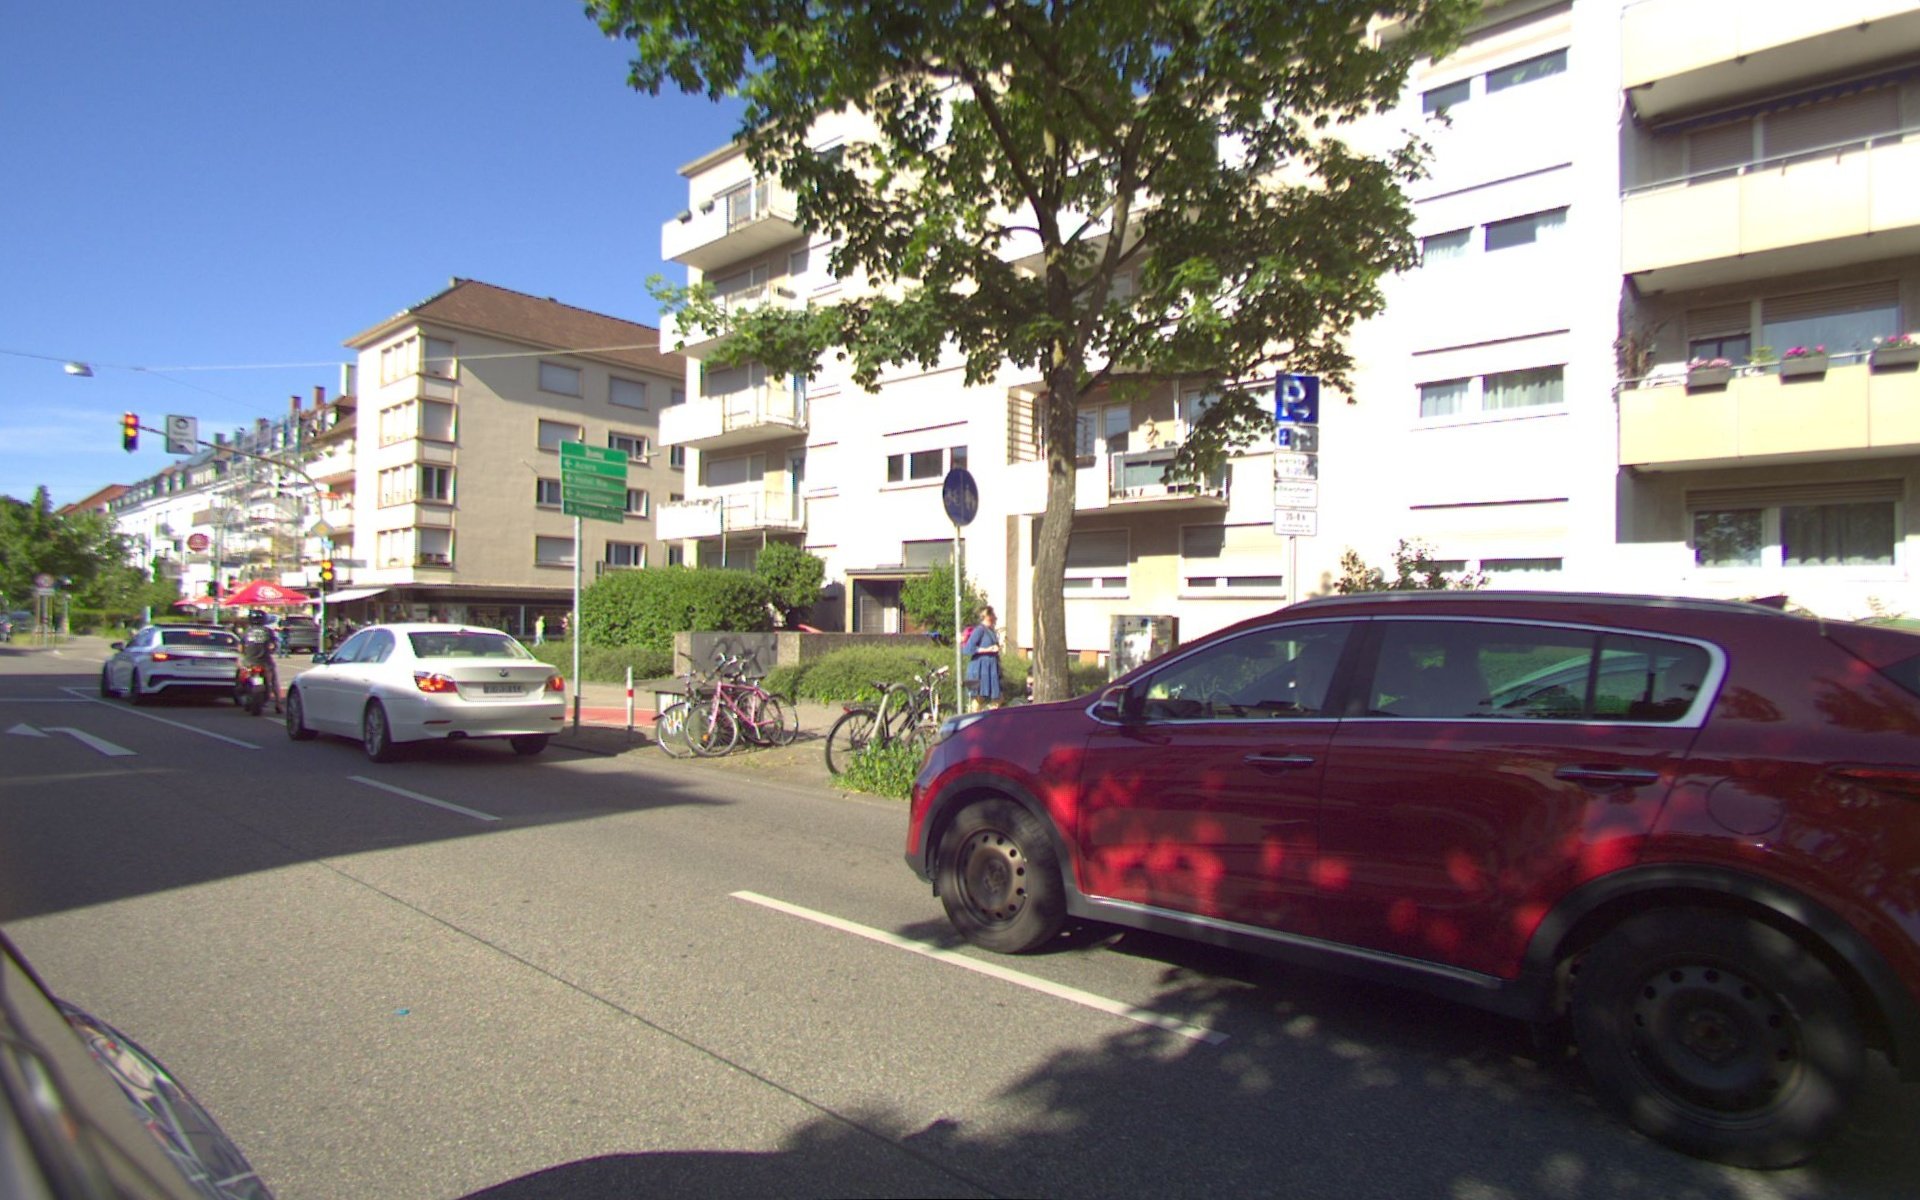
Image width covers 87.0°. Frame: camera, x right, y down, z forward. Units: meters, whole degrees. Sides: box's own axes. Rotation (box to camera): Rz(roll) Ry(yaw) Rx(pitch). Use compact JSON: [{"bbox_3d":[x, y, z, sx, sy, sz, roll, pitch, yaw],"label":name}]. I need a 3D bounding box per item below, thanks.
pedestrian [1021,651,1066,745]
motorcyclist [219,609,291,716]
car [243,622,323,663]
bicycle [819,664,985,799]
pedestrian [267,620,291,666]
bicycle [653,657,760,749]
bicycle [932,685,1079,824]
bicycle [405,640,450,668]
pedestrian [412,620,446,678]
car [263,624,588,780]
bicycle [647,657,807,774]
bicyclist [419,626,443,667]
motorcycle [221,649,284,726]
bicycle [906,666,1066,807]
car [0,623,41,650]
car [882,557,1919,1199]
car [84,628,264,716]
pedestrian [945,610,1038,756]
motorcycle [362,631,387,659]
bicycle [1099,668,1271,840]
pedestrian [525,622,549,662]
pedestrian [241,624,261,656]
[{"bbox_3d":[1.080,1.253,13.092,0.490,1.169,0.331,-1,-2,40],"label":"pedestrian"},{"bbox_3d":[-11.351,1.006,16.289,0.720,1.659,0.918,6,-5,-43],"label":"motorcyclist"},{"bbox_3d":[-28.561,1.764,42.656,4.303,1.635,1.741,-1,-3,42],"label":"car"},{"bbox_3d":[-0.540,1.256,10.099,0.559,1.095,1.808,-1,0,40],"label":"bicycle"},{"bbox_3d":[-25.837,1.623,38.387,0.661,1.731,0.585,3,-2,-39],"label":"pedestrian"},{"bbox_3d":[-3.311,1.310,13.142,1.705,1.087,0.422,-1,-3,41],"label":"bicycle"},{"bbox_3d":[0.428,1.301,8.853,0.447,0.972,1.521,-1,0,40],"label":"bicycle"},{"bbox_3d":[-21.438,2.156,40.743,0.449,1.085,1.545,-1,-3,39],"label":"bicycle"},{"bbox_3d":[-15.517,1.419,29.578,0.682,1.671,0.650,-1,-3,42],"label":"pedestrian"},{"bbox_3d":[-6.481,1.079,12.000,4.776,1.476,1.794,-1,-5,42],"label":"car"},{"bbox_3d":[-2.660,1.290,11.777,0.518,1.171,1.949,-1,-2,37],"label":"bicycle"},{"bbox_3d":[-21.376,1.887,40.892,0.578,1.619,0.677,-1,-3,39],"label":"bicyclist"},{"bbox_3d":[-11.400,1.384,16.289,0.442,1.130,1.934,6,-5,-44],"label":"motorcycle"},{"bbox_3d":[0.287,1.244,9.651,0.492,1.095,1.808,-1,0,40],"label":"bicycle"},{"bbox_3d":[-49.802,1.908,53.600,3.092,1.366,1.305,-1,-3,42],"label":"car"},{"bbox_3d":[1.802,0.806,4.166,4.298,1.629,1.703,-2,-6,42],"label":"car"},{"bbox_3d":[-14.594,1.279,18.703,4.503,1.417,1.680,-1,-5,41],"label":"car"},{"bbox_3d":[0.385,0.979,12.350,0.929,1.699,0.662,-1,-2,40],"label":"pedestrian"},{"bbox_3d":[-29.511,2.243,50.993,1.763,1.378,0.562,-1,-3,43],"label":"motorcycle"},{"bbox_3d":[1.843,1.159,8.096,0.559,1.095,1.808,-1,0,40],"label":"bicycle"},{"bbox_3d":[-19.165,1.905,45.850,0.683,1.747,0.719,0,-2,39],"label":"pedestrian"},{"bbox_3d":[-34.904,1.947,49.823,0.535,1.522,0.635,-1,1,39],"label":"pedestrian"}]
